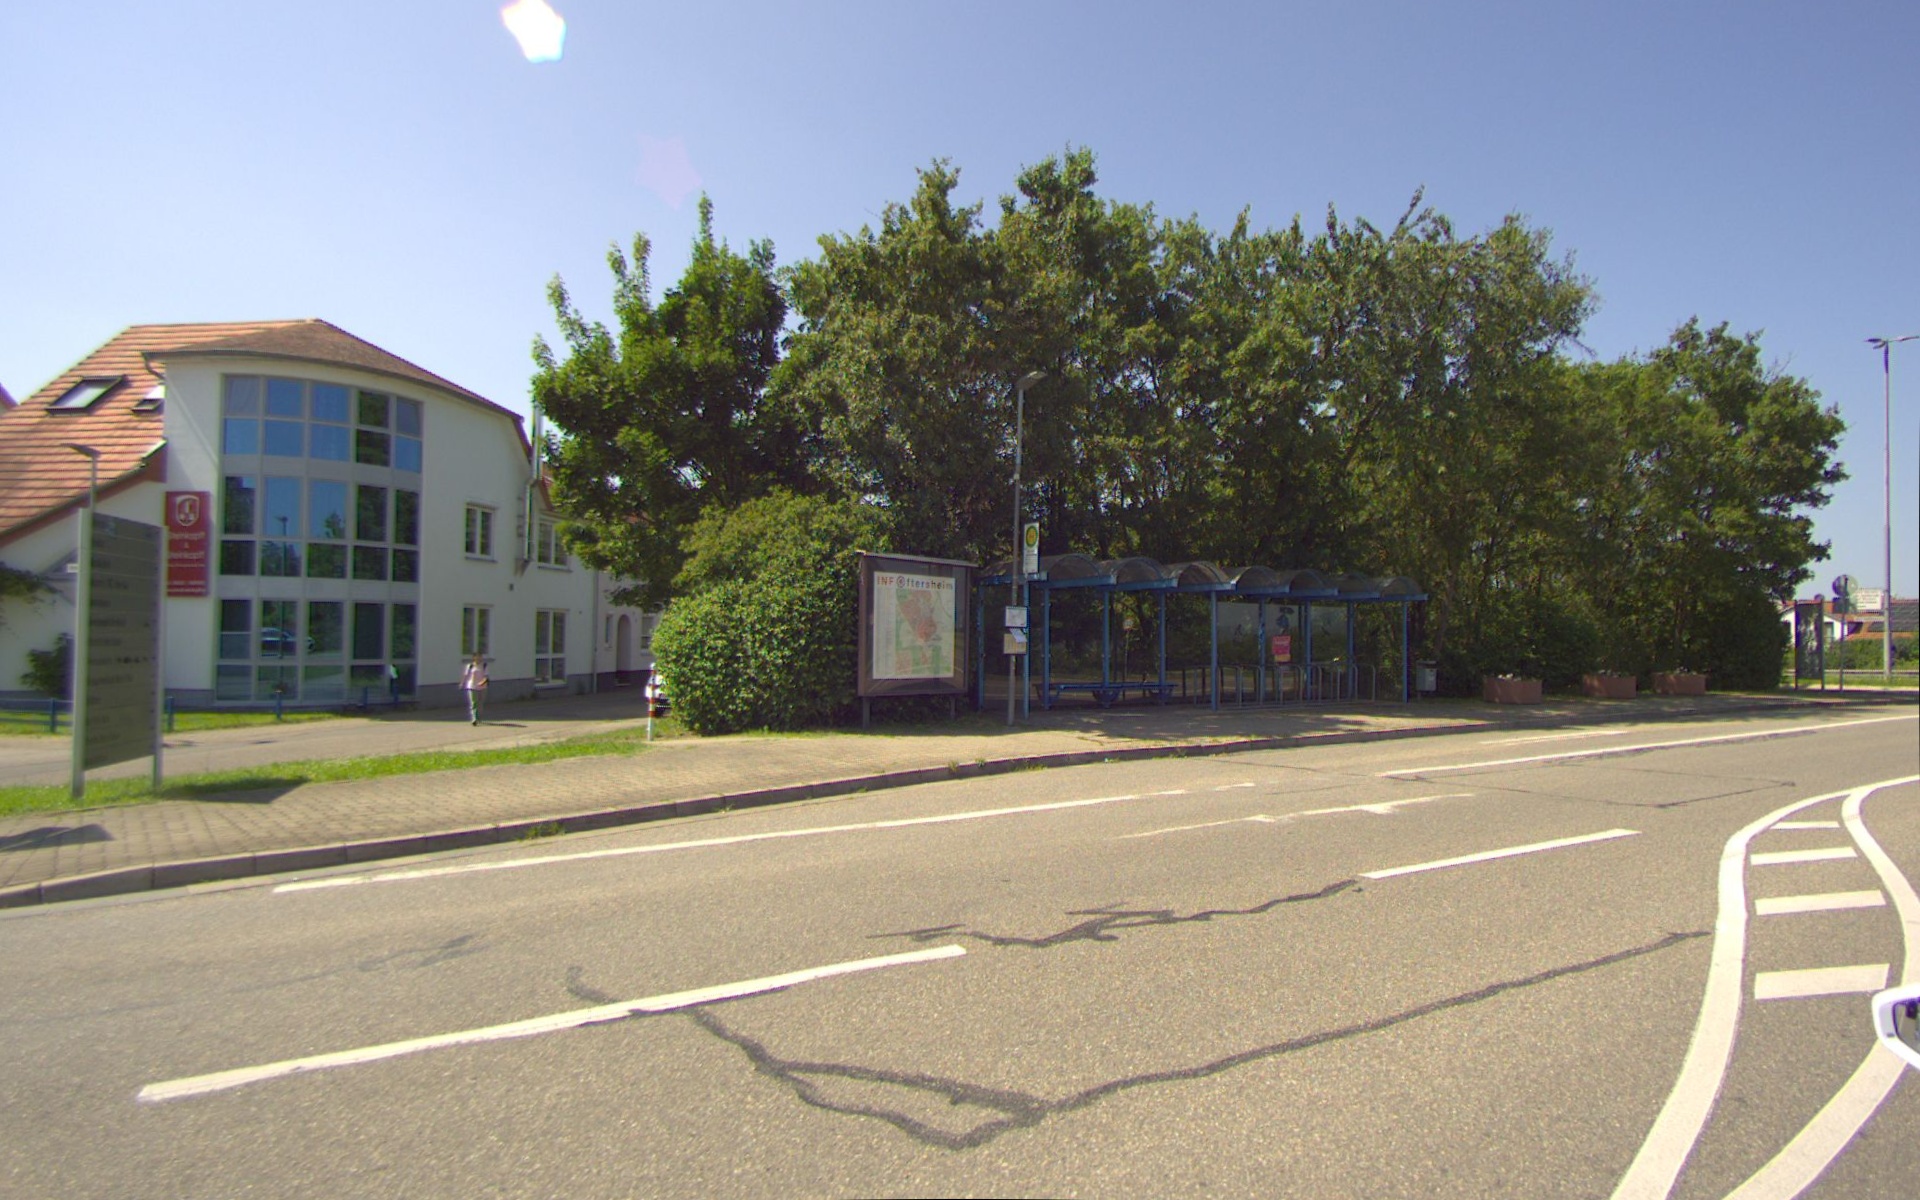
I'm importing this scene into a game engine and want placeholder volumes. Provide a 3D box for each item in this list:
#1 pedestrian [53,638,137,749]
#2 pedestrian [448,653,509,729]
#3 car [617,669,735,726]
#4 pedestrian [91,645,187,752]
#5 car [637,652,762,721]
[{"bbox_3d":[-14.774,1.568,17.175,0.695,1.845,0.805,0,-2,3],"label":"pedestrian"},{"bbox_3d":[-10.412,1.954,21.752,0.905,1.587,0.790,0,-2,-1],"label":"pedestrian"},{"bbox_3d":[-7.031,2.396,25.189,1.423,1.220,3.562,1,-2,10],"label":"car"},{"bbox_3d":[-14.022,1.653,17.184,0.799,1.763,0.961,0,-2,2],"label":"pedestrian"},{"bbox_3d":[-6.704,2.197,26.223,1.769,1.588,3.585,0,-2,11],"label":"car"}]
